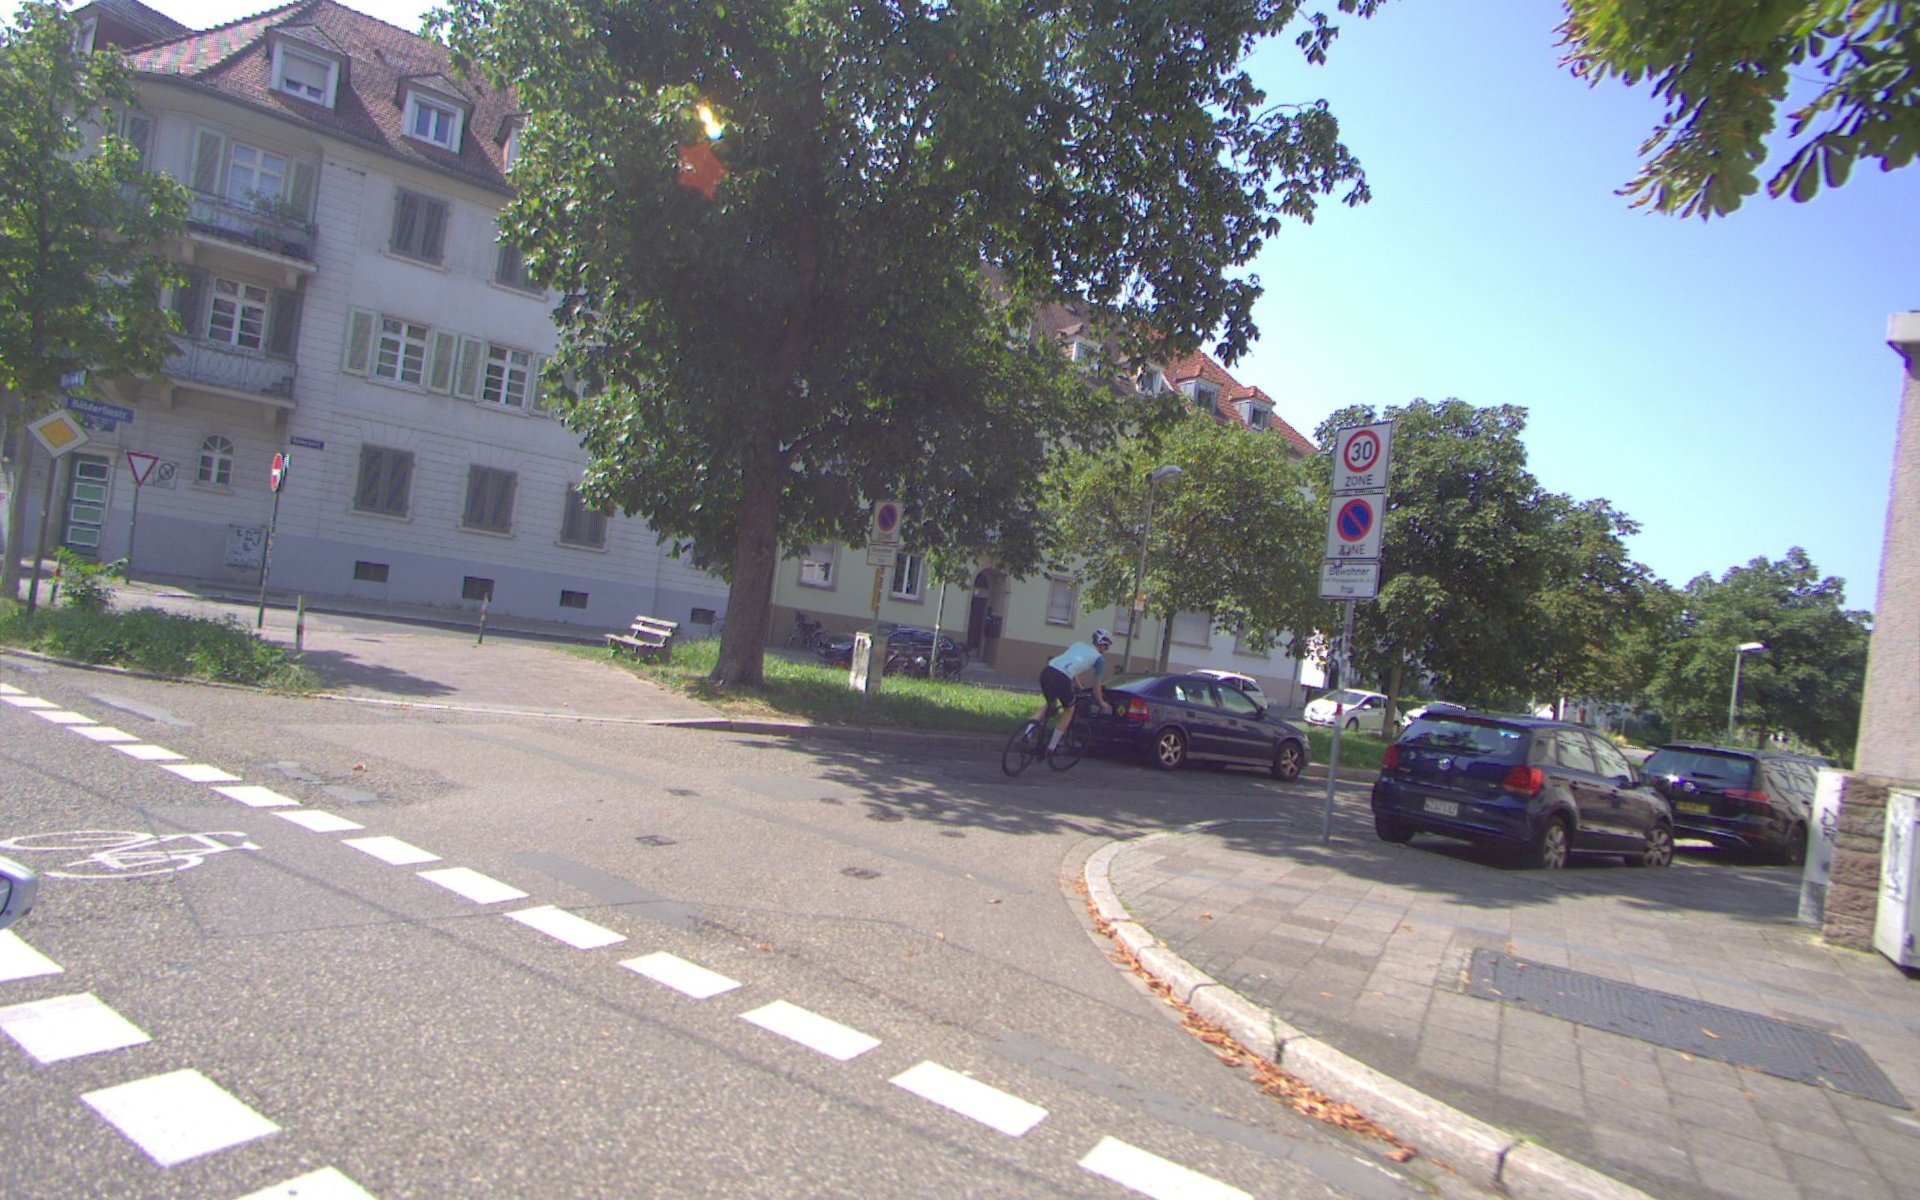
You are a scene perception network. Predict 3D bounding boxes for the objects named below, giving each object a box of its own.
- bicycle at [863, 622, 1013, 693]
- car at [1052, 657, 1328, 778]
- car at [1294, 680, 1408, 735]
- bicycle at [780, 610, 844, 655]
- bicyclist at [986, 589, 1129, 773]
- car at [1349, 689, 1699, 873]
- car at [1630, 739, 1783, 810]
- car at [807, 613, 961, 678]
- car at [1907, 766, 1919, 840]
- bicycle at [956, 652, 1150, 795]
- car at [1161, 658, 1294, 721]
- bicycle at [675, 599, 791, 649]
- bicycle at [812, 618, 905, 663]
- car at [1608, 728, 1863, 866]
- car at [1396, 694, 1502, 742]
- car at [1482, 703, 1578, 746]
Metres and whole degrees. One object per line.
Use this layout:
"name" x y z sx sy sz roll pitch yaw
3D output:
"bicycle" -0.469 1.313 22.791 3.186 1.125 1.153 10 -2 -34
"car" 3.538 1.802 15.312 3.912 1.363 1.748 9 -3 -31
"car" 13.441 3.704 34.554 3.746 1.446 1.625 9 -3 -32
"bicycle" -4.698 1.016 31.777 1.004 1.131 2.253 9 -3 -34
"bicyclist" 1.111 0.895 11.329 1.109 1.859 0.955 7 -1 29
"car" 5.819 1.818 10.254 3.581 1.363 1.745 9 -3 -37
"car" 19.072 4.456 25.681 3.912 1.363 1.748 9 -3 -31
"car" -2.269 1.383 30.463 4.241 1.398 1.669 9 -3 -32
"car" 21.594 4.422 20.954 3.913 1.465 1.748 9 -3 -32
"bicycle" 1.156 1.361 11.518 1.131 1.284 2.710 7 -1 28
"car" 8.313 2.781 31.142 3.937 1.454 1.625 9 -3 -32
"bicycle" -6.938 0.734 30.879 3.186 1.040 1.153 10 -3 -34
"bicycle" -3.344 1.346 33.277 2.757 1.040 1.152 10 -3 -36
"car" 10.399 2.607 13.433 3.581 1.363 1.745 9 -3 -37
"car" 18.397 4.443 37.808 3.849 1.293 1.687 9 -3 -32
"car" 23.211 5.086 40.946 3.849 1.293 1.687 9 -3 -32
